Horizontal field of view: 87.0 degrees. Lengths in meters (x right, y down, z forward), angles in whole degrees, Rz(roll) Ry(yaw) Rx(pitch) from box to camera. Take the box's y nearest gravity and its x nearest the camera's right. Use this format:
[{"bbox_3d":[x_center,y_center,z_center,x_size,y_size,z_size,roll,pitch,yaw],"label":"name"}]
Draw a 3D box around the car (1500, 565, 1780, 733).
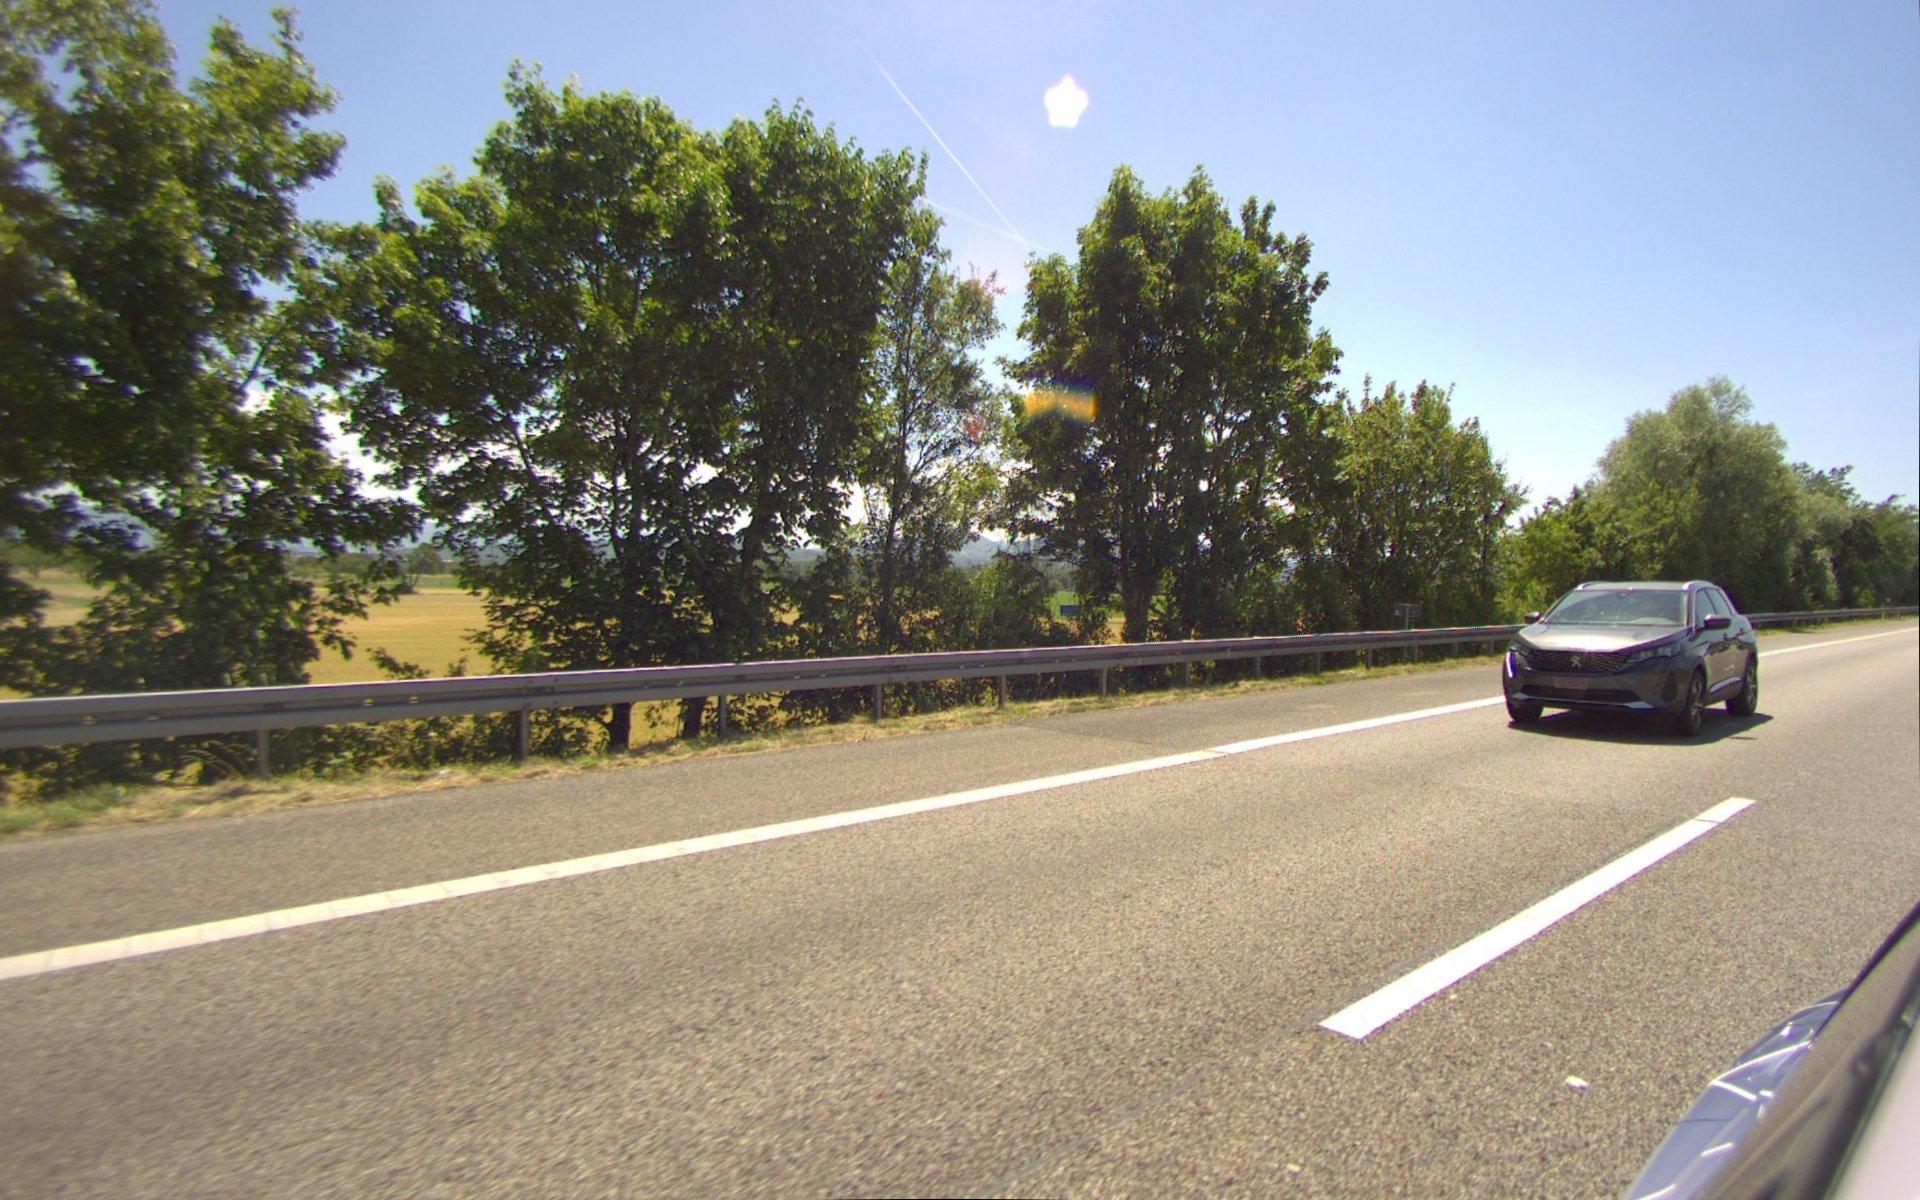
[{"bbox_3d":[8.151,0.466,11.989,4.064,1.649,1.848,0,1,-43],"label":"car"}]
